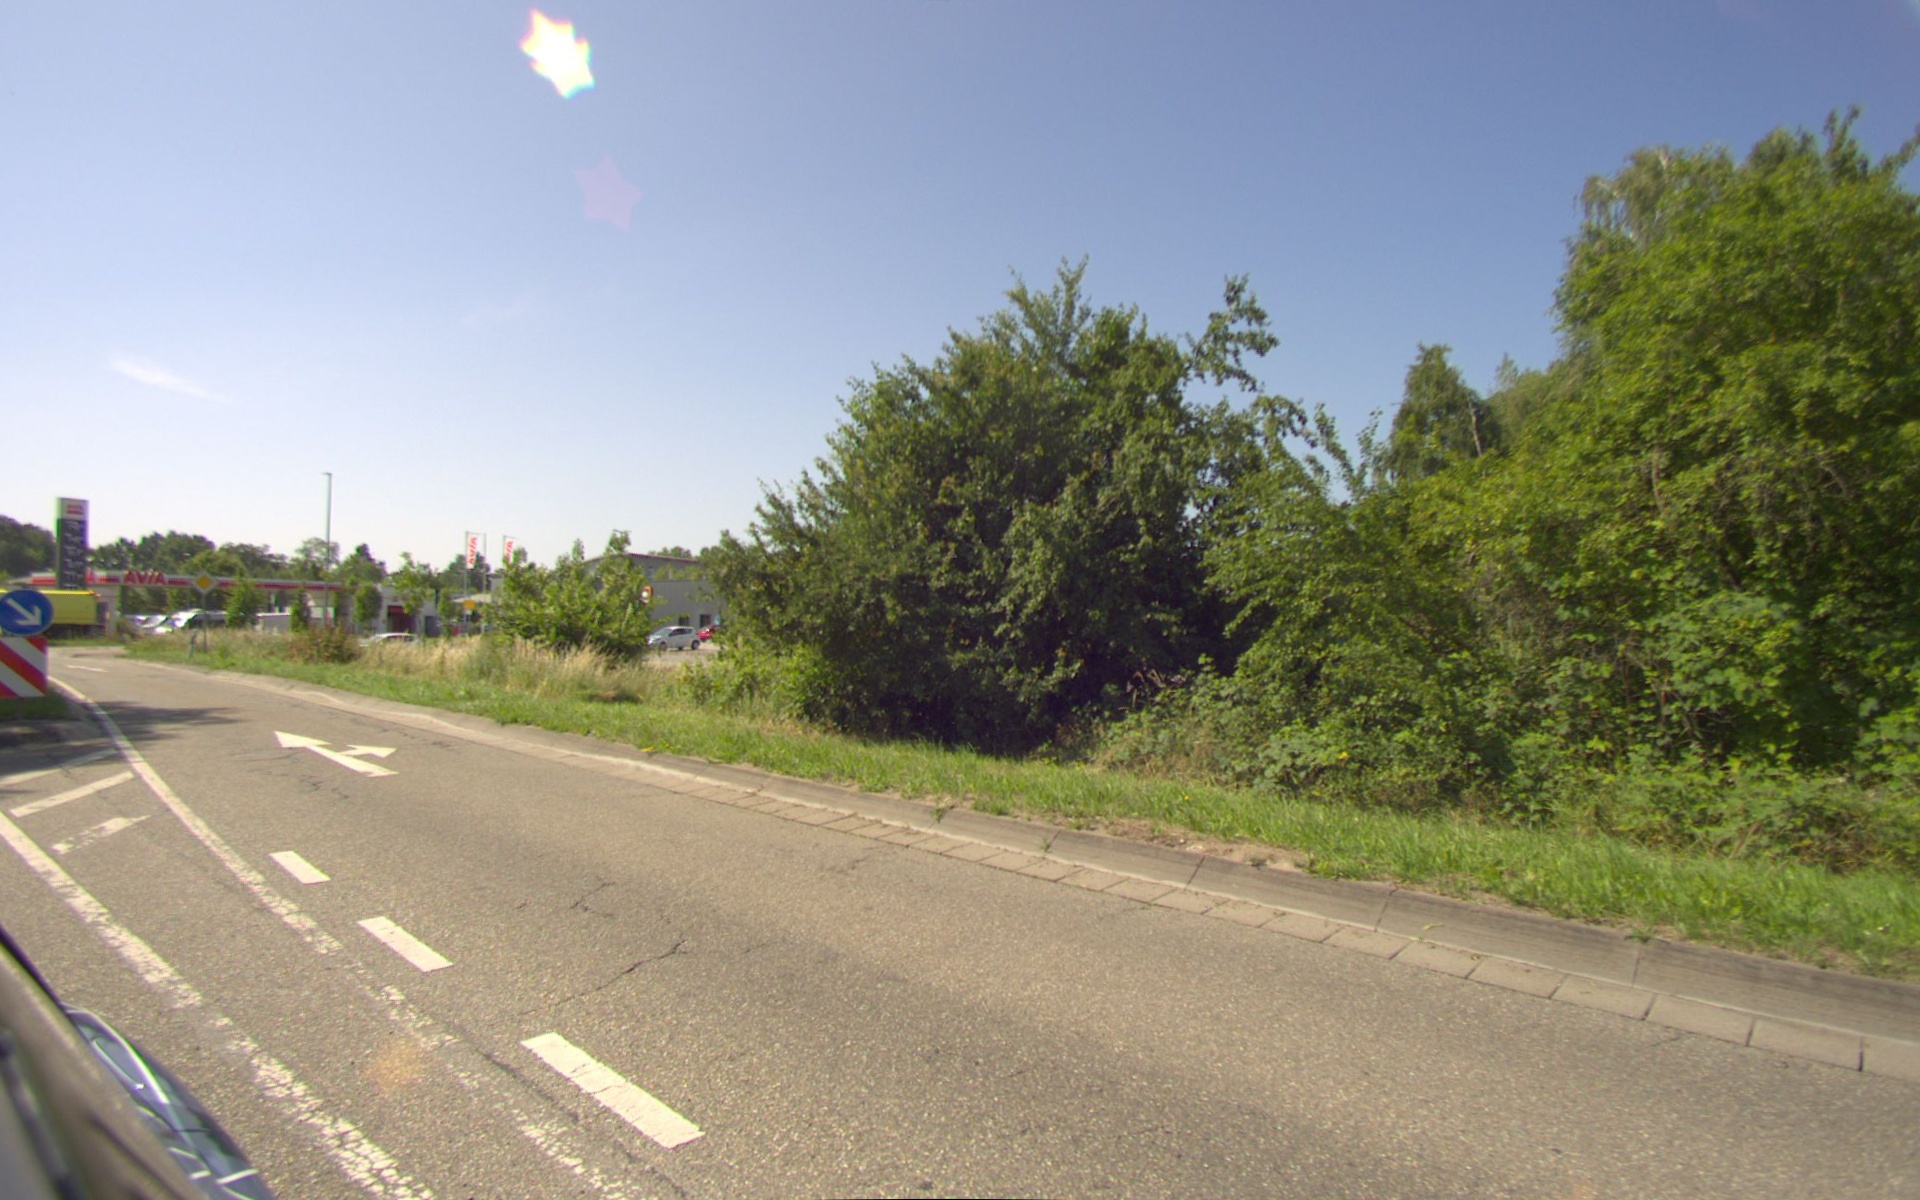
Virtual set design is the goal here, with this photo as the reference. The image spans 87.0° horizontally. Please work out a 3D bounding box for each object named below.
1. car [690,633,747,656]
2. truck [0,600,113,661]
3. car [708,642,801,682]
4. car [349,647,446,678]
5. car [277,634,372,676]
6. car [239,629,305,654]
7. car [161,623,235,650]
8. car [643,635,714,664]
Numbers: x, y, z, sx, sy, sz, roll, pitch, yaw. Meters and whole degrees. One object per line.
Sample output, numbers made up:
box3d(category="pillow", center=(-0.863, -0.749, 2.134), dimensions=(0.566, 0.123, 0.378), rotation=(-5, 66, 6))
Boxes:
box3d(category="car", center=(-18.938, 3.456, 79.552), dimensions=(1.998, 1.763, 3.947), rotation=(-2, -3, 39))
box3d(category="truck", center=(-55.643, 1.772, 58.091), dimensions=(3.881, 3.420, 10.202), rotation=(-2, -3, 39))
box3d(category="car", center=(-9.672, 2.879, 47.599), dimensions=(3.981, 1.763, 1.981), rotation=(-1, -3, 28))
box3d(category="car", center=(-29.255, 3.235, 52.717), dimensions=(1.998, 1.497, 3.947), rotation=(-2, -3, 39))
box3d(category="car", center=(-34.881, 2.982, 55.640), dimensions=(1.998, 2.184, 3.948), rotation=(-2, -3, 39))
box3d(category="car", center=(-55.240, 3.357, 81.368), dimensions=(1.985, 1.962, 3.972), rotation=(-1, -2, 20))
box3d(category="car", center=(-56.920, 2.702, 75.694), dimensions=(1.985, 1.962, 3.972), rotation=(-1, -2, 20))
box3d(category="car", center=(-18.170, 3.188, 65.447), dimensions=(1.998, 1.763, 3.947), rotation=(-2, -3, 39))
